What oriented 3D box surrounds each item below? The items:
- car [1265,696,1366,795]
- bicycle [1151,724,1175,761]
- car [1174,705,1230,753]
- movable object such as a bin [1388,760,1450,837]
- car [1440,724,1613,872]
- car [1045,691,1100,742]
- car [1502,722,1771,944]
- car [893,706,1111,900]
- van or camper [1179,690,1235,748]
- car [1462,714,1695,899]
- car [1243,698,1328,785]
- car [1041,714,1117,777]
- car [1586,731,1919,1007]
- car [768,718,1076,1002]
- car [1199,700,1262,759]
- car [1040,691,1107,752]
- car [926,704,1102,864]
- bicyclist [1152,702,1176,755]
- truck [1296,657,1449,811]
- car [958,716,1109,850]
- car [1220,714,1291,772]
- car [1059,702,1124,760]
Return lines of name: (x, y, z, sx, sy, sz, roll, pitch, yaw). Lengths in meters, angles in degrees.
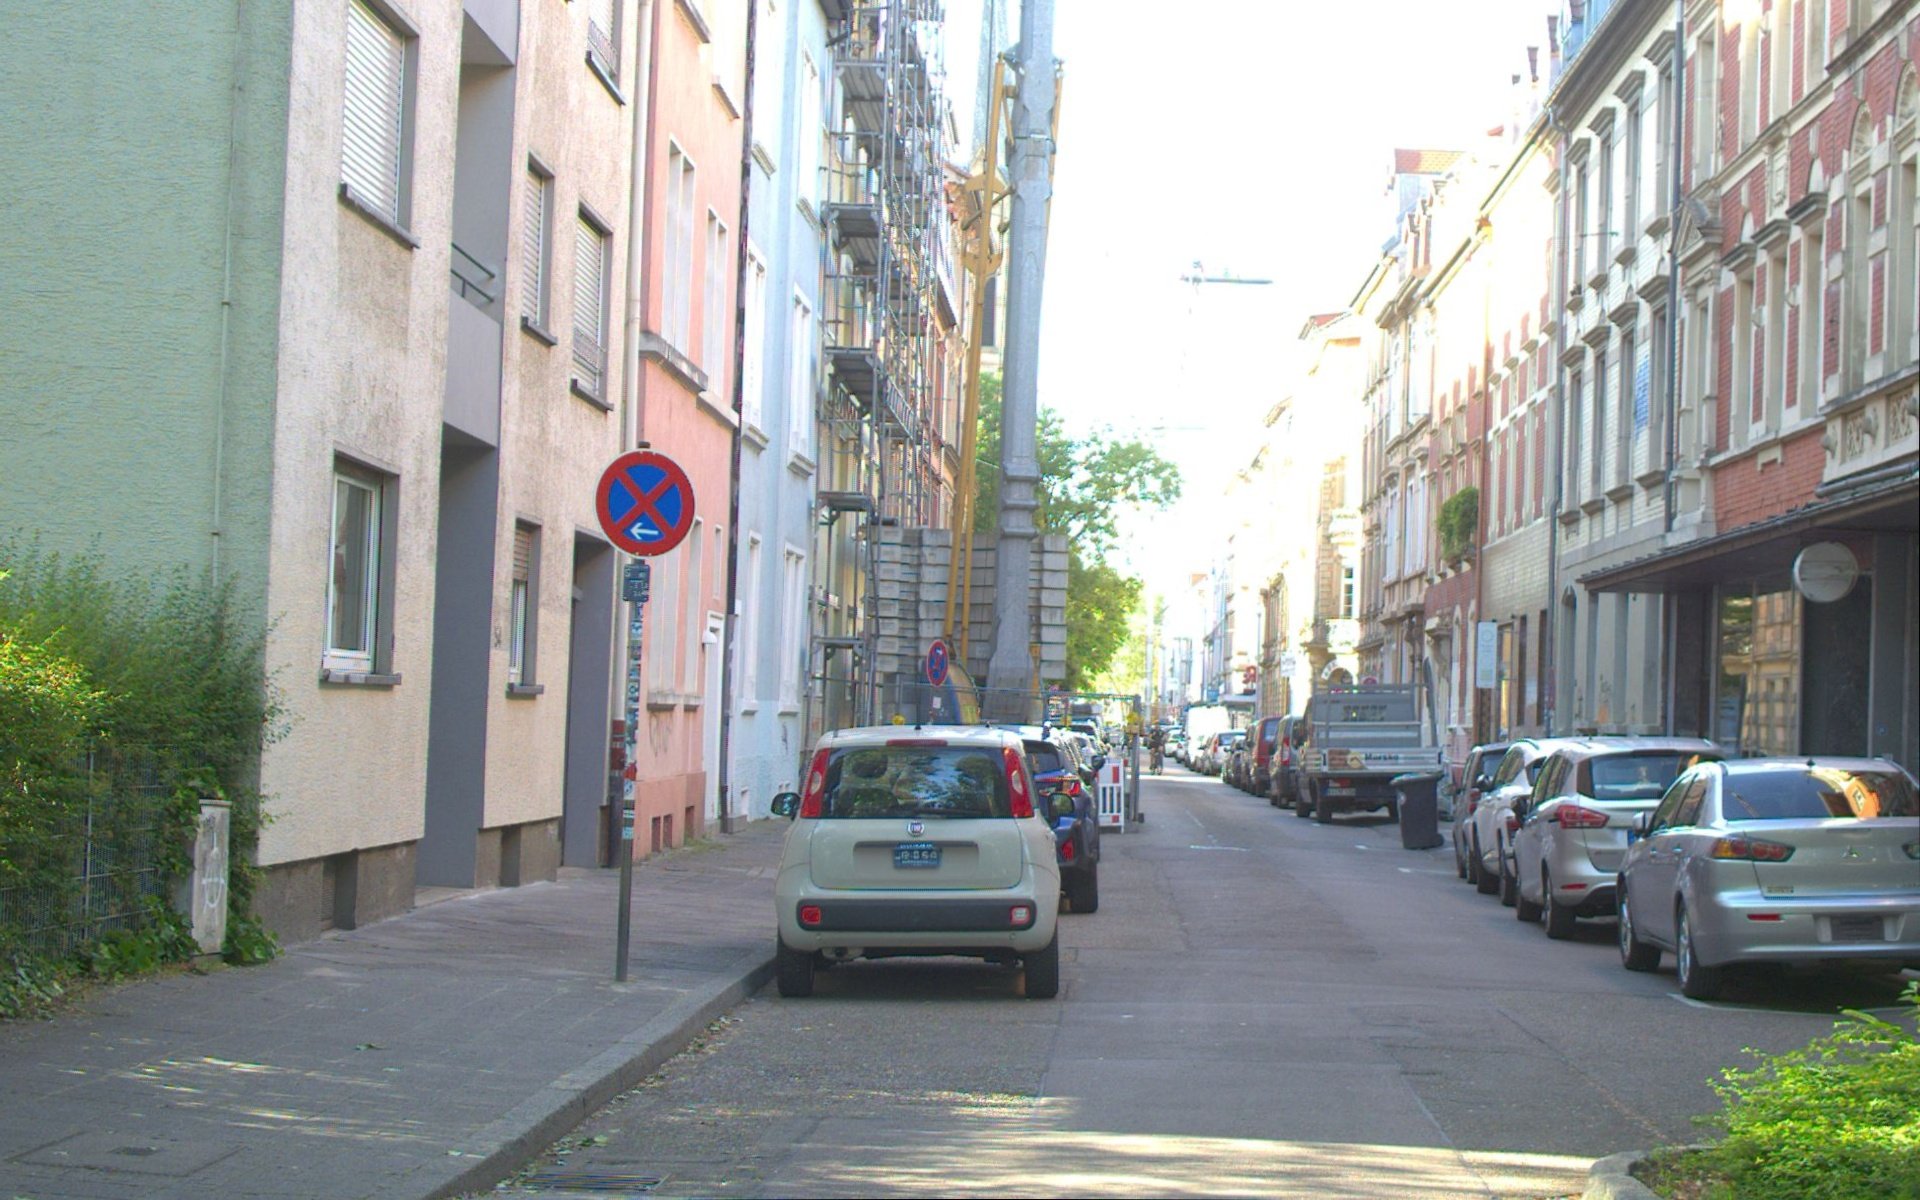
car: (7.405, 3.029, 71.874, 1.675, 1.956, 4.108, 2, -2, 0)
bicycle: (6.861, 4.806, 116.206, 0.724, 1.182, 2.042, 3, -1, 3)
car: (9.609, 5.118, 136.652, 1.993, 1.843, 3.999, 1, -2, 1)
movable object such as a bin: (6.543, 2.826, 49.041, 0.795, 1.052, 0.660, 2, -2, 3)
car: (6.439, 2.222, 39.368, 1.597, 1.555, 3.812, 1, -2, 4)
car: (4.141, 4.304, 127.081, 1.993, 1.843, 3.999, 1, -2, 1)
car: (5.536, 1.873, 28.532, 1.640, 1.651, 3.868, 2, -2, 4)
car: (0.352, 1.702, 29.705, 1.729, 1.535, 4.377, 1, -2, 0)
van or camper: (10.818, 5.208, 150.795, 1.993, 2.500, 4.202, 1, -2, -1)
car: (6.068, 1.999, 34.142, 1.747, 1.670, 4.339, 2, -2, 4)
car: (7.966, 3.462, 84.347, 1.675, 2.024, 3.869, 2, -2, 0)
car: (2.848, 3.478, 82.583, 1.675, 1.440, 3.869, 2, -2, 0)
car: (5.295, 1.662, 22.312, 1.721, 1.557, 4.397, 2, -2, 2)
car: (-0.198, 1.501, 20.897, 1.675, 1.535, 3.869, 1, -2, 0)
car: (9.603, 4.579, 122.205, 1.993, 2.007, 3.999, 1, -2, 1)
car: (3.045, 3.273, 92.772, 1.675, 1.566, 3.869, 2, -2, 0)
car: (0.616, 1.860, 35.632, 1.675, 1.507, 4.414, 1, -2, 2)
bicyclist: (6.875, 4.330, 116.114, 0.730, 1.755, 0.835, 3, -1, 3)
truck: (7.304, 2.368, 61.382, 2.190, 2.598, 5.233, 1, -2, 1)
car: (0.926, 2.157, 41.344, 1.675, 1.472, 4.607, 2, -2, 2)
car: (8.381, 4.037, 97.644, 1.675, 1.566, 3.869, 2, -2, 0)
car: (3.734, 3.716, 97.922, 1.675, 1.566, 3.869, 2, -2, 0)
